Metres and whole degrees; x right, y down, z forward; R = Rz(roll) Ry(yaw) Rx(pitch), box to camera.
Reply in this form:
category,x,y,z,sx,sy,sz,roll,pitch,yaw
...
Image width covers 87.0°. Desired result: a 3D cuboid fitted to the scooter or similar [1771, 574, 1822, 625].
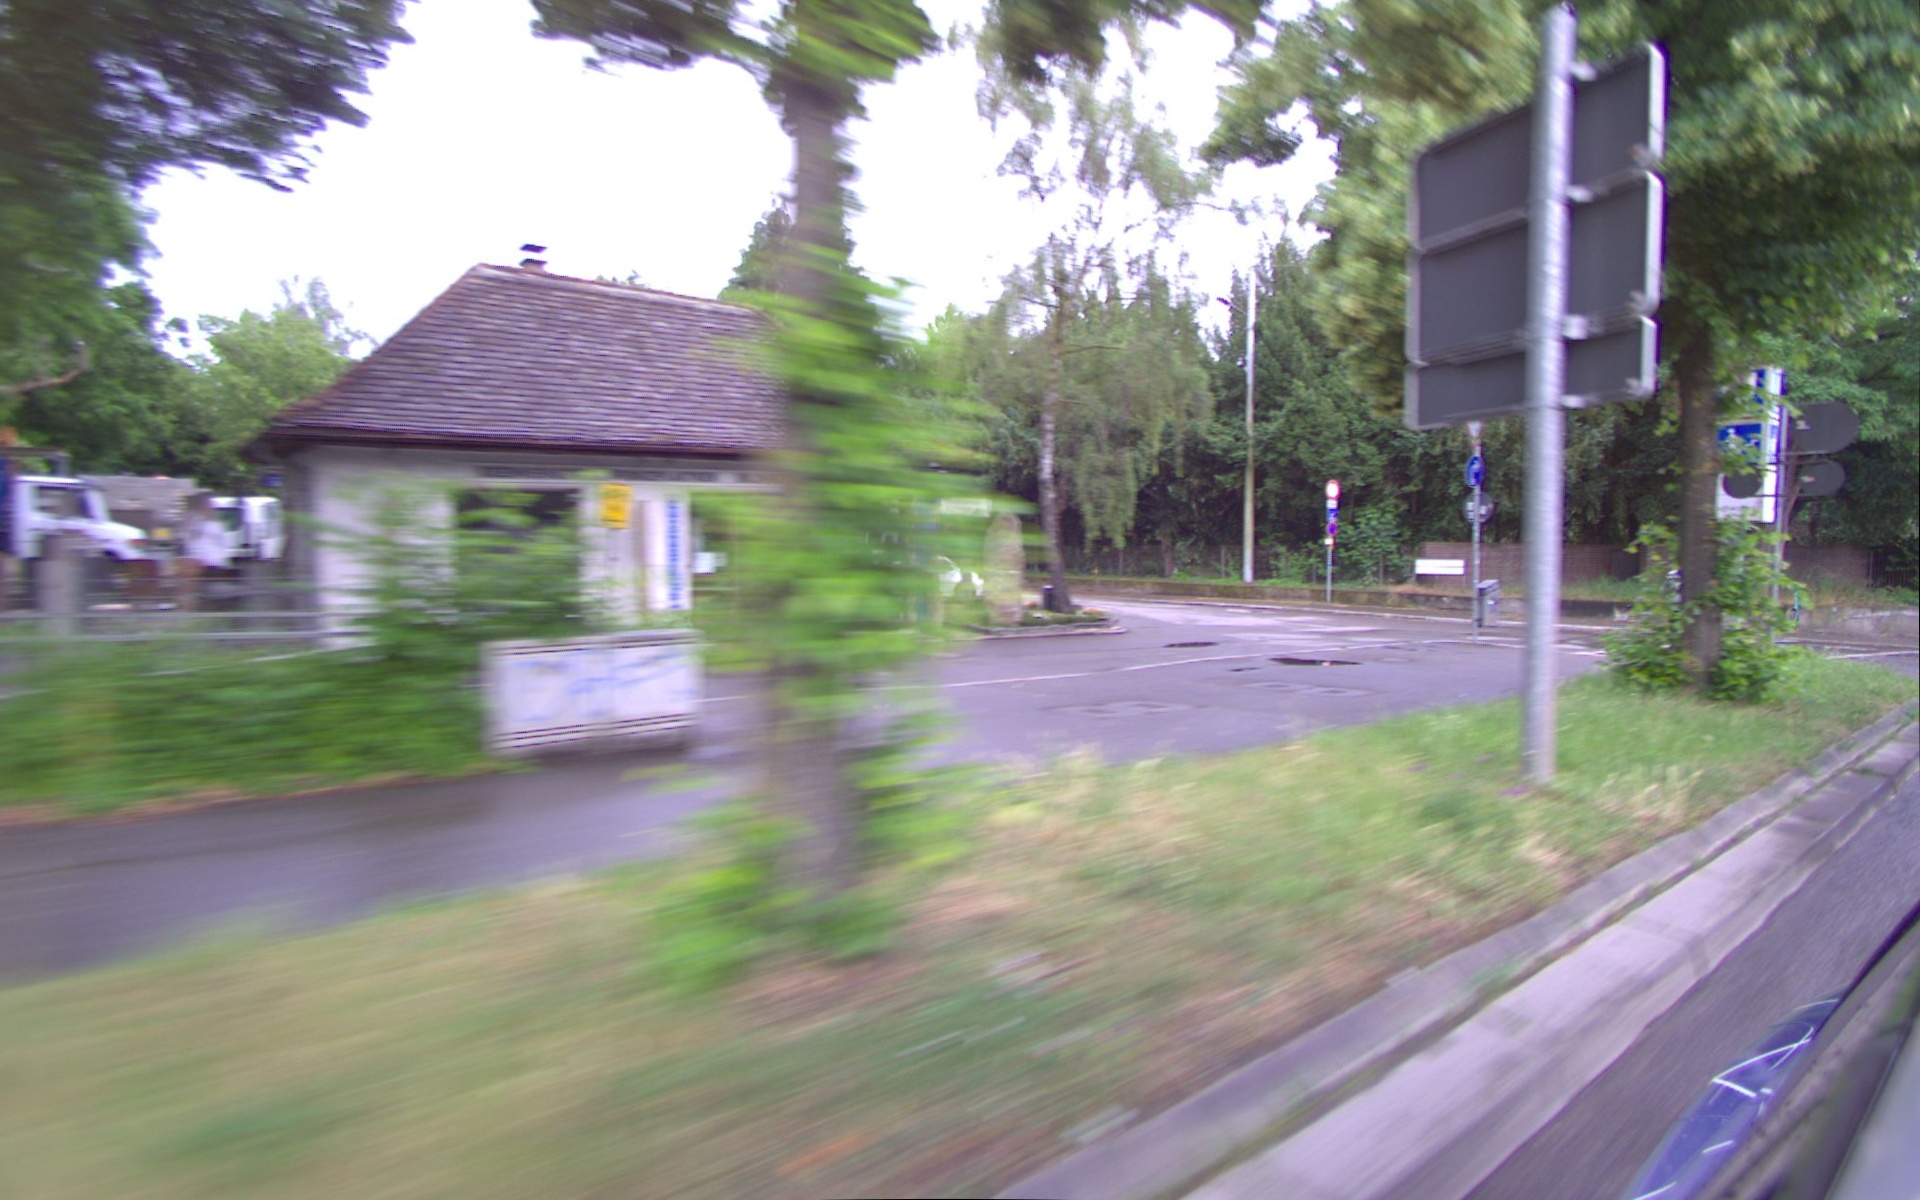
category,x,y,z,sx,sy,sz,roll,pitch,yaw
scooter or similar,21.723,-0.018,26.272,1.288,1.245,0.517,0,5,-31

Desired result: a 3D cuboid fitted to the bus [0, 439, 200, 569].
category,x,y,z,sx,sy,sz,roll,pitch,yaw
bus,-21.404,-2.137,22.578,7.033,2.734,2.259,0,2,-36

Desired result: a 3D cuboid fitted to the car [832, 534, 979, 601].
category,x,y,z,sx,sy,sz,roll,pitch,yaw
car,-1.530,-0.905,27.444,3.684,1.597,1.838,2,3,-11

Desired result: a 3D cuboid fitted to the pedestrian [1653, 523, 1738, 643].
category,x,y,z,sx,sy,sz,roll,pitch,yaw
pedestrian,11.899,-0.286,16.381,0.723,1.876,0.858,1,2,-36

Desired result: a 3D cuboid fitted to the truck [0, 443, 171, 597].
category,x,y,z,sx,sy,sz,roll,pitch,yaw
truck,-19.386,-1.555,19.446,6.496,2.903,2.055,0,2,-44
